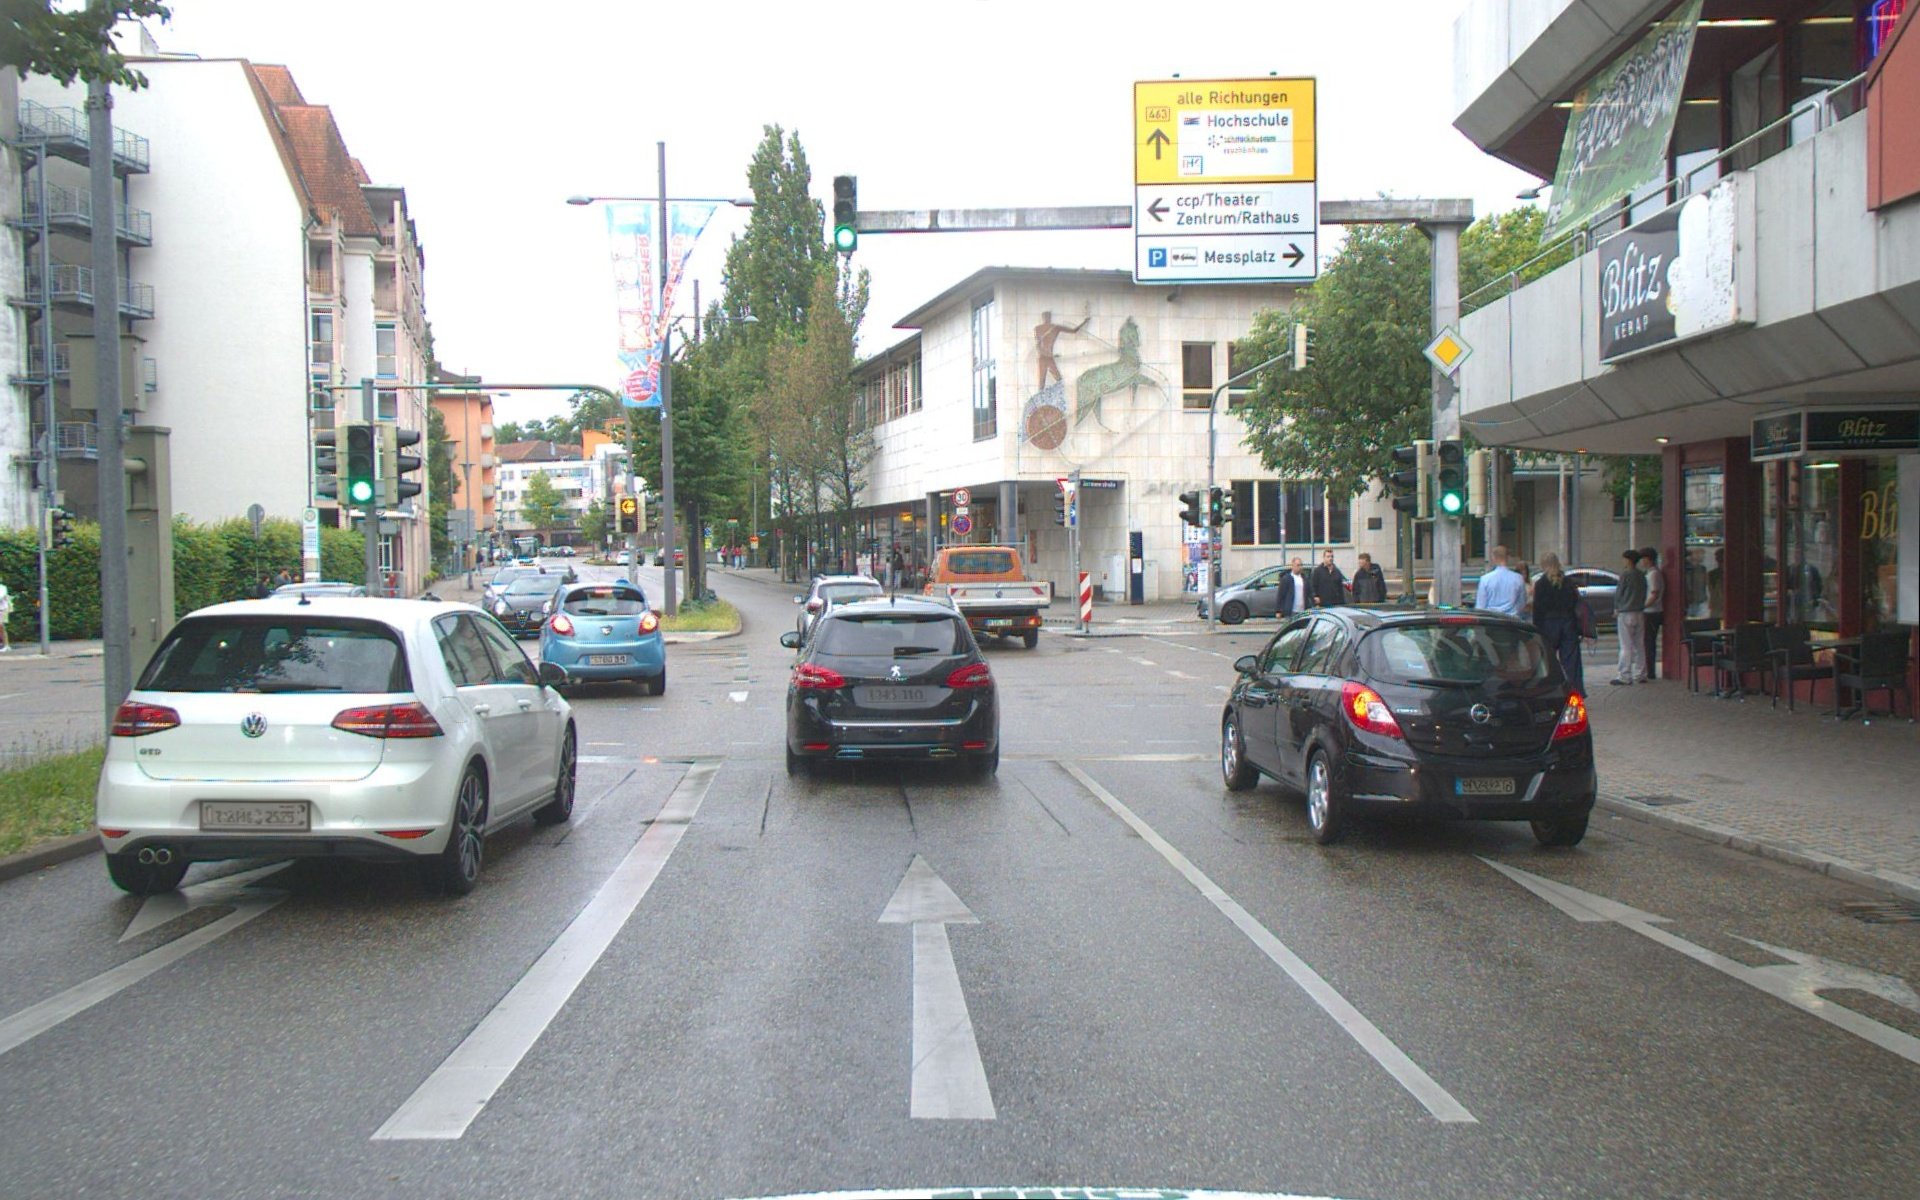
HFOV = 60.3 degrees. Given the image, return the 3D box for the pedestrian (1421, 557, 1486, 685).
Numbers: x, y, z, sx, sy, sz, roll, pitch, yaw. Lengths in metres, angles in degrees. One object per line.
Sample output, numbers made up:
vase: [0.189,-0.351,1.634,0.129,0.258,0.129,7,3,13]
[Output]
pedestrian: [6.785,0.274,22.768,0.562,1.692,0.940,-2,1,0]

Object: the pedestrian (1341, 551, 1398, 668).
pedestrian: [6.908,0.158,27.926,0.718,1.929,0.676,-1,0,-3]

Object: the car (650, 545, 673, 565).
car: [-25.826,-3.879,143.065,1.617,1.591,3.586,1,-1,-14]

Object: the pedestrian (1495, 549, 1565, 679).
pedestrian: [7.842,0.174,22.793,0.576,1.735,0.971,-2,1,0]

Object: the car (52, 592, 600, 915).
car: [-3.306,0.693,9.508,1.730,1.434,3.998,1,0,-3]

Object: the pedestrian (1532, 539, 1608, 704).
pedestrian: [6.791,0.239,18.448,0.609,1.804,0.677,-1,-1,4]

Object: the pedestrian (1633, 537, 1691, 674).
pedestrian: [9.293,0.075,21.898,0.515,1.794,0.511,0,-1,-2]

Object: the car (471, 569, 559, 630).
car: [-13.935,-0.045,52.028,1.791,1.766,4.308,-1,1,-3]

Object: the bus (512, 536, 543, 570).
bus: [-44.859,-4.931,171.433,2.700,3.128,12.185,-1,3,-16]

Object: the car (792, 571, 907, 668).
car: [-2.011,0.279,29.166,1.761,1.509,3.994,-1,2,-7]

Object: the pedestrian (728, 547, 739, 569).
pedestrian: [-17.019,-3.156,124.313,0.714,1.617,0.604,-3,2,-15]

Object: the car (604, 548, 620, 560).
car: [-50.584,-6.657,240.330,1.962,1.713,3.982,-2,2,-17]

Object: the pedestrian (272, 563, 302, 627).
pedestrian: [-18.990,-0.136,46.707,0.629,1.795,0.592,-1,-2,-6]

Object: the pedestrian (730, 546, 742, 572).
pedestrian: [-16.001,-2.945,118.194,0.642,1.797,0.919,-3,2,-15]

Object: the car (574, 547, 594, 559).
car: [-56.868,-7.112,250.191,1.634,1.591,3.549,2,-1,-39]

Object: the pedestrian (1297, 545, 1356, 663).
pedestrian: [6.169,0.067,27.871,0.743,1.935,0.789,-1,0,-3]

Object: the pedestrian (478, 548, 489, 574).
pedestrian: [-32.840,-2.674,113.966,0.686,1.825,0.956,0,1,-12]

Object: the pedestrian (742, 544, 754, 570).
pedestrian: [-15.188,-3.064,118.348,0.686,1.832,0.604,-3,2,-15]

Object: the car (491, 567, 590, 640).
car: [-9.830,0.043,38.973,1.591,1.582,3.657,-1,2,-4]

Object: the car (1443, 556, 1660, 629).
car: [12.801,-0.194,35.858,4.189,1.444,1.780,-1,2,-16]

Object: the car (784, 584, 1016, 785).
car: [-0.555,0.626,14.597,1.759,1.509,3.998,0,1,-3]

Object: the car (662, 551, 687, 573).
car: [-22.158,-2.938,128.320,1.617,1.591,3.586,1,-1,-14]

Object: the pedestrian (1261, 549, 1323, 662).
pedestrian: [5.440,0.089,27.142,0.734,1.811,0.887,-1,0,-6]

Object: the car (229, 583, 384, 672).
car: [-12.620,0.489,32.156,1.639,1.541,3.642,-2,1,-2]

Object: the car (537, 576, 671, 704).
car: [-5.059,0.488,23.250,1.667,1.499,3.677,-2,3,-14]

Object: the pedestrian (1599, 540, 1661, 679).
pedestrian: [8.755,0.127,21.629,0.583,1.794,0.492,0,-1,-2]

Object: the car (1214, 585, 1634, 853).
car: [2.982,0.669,11.463,1.674,1.482,3.740,0,1,-3]

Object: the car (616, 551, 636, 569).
car: [-31.497,-3.761,155.741,1.617,1.591,3.586,1,-1,-14]

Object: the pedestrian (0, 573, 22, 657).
pedestrian: [-20.864,0.318,35.997,0.516,1.795,0.592,2,0,-4]

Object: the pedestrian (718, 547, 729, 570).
pedestrian: [-17.769,-3.132,124.163,0.705,1.648,0.766,-3,2,-15]

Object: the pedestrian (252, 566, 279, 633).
pedestrian: [-18.868,0.003,44.952,0.516,1.795,0.630,-1,-2,-6]

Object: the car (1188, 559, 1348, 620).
car: [7.797,-0.276,42.061,3.902,1.502,2.002,0,1,9]

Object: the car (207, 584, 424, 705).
car: [-9.140,0.579,23.810,1.679,1.504,3.955,-3,0,-3]

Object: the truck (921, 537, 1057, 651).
truck: [0.492,-0.157,33.166,2.081,2.060,4.709,-2,1,-7]

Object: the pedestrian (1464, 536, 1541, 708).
pedestrian: [6.074,0.241,18.538,0.609,1.879,0.848,-1,-1,4]
